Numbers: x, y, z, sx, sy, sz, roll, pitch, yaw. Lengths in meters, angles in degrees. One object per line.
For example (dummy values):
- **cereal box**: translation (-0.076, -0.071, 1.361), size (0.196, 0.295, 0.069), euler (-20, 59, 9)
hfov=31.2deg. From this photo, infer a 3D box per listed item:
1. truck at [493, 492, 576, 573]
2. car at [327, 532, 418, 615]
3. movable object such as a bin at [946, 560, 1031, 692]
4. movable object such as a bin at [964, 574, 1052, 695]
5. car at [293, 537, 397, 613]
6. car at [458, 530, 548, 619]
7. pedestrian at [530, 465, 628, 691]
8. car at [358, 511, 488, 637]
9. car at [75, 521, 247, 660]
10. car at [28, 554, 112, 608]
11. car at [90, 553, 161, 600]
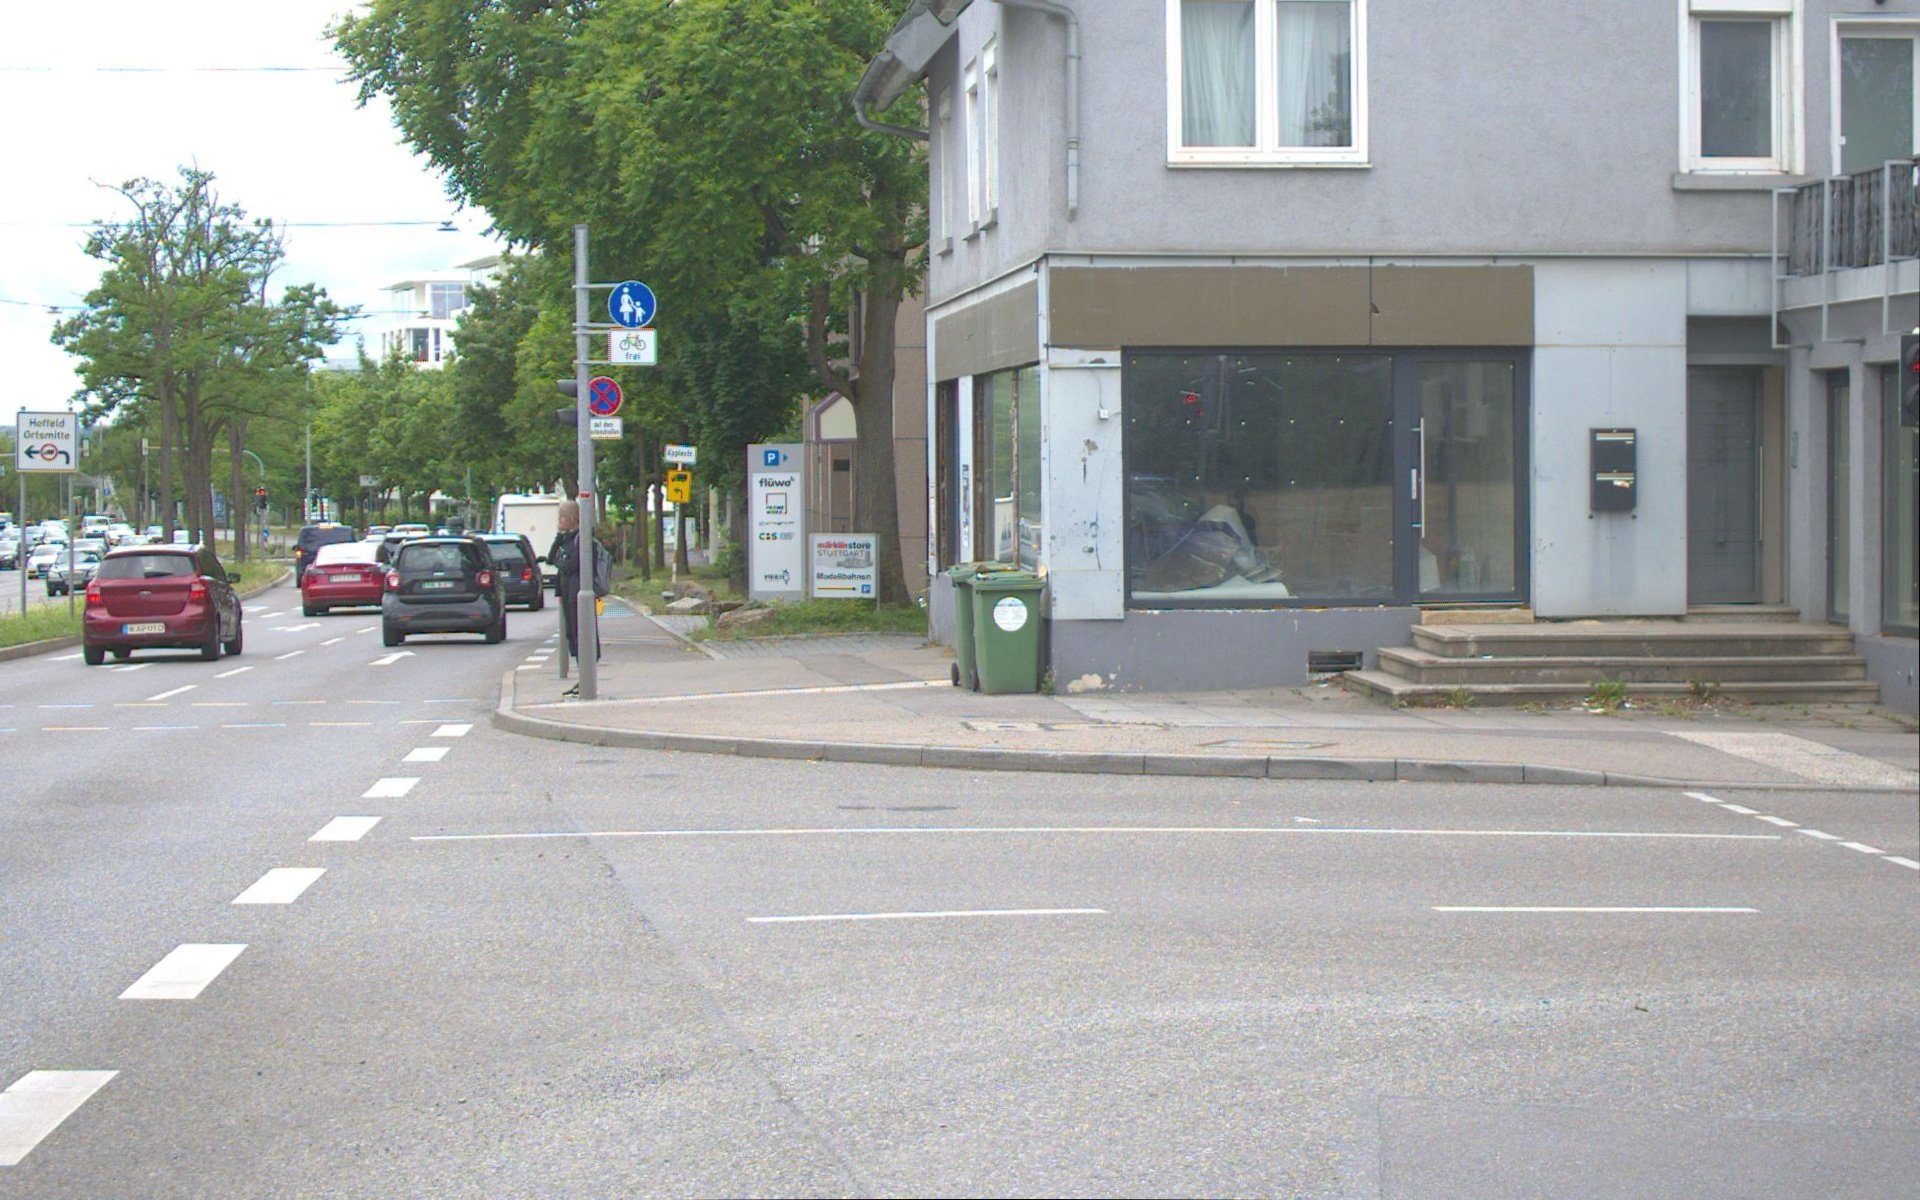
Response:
- **truck**: translation (-11.814, -1.863, 95.687), size (1.993, 2.158, 5.560), euler (1, 1, -5)
- **car**: translation (-14.893, -0.690, 86.997), size (1.993, 2.006, 4.002), euler (1, 2, -14)
- **movable object such as a bin**: translation (0.240, 0.215, 29.066), size (0.597, 1.097, 0.573), euler (-1, 1, -13)
- **movable object such as a bin**: translation (0.393, 0.282, 28.480), size (0.597, 0.984, 0.573), euler (-1, 1, -13)
- **car**: translation (-12.612, -0.509, 70.343), size (1.868, 1.481, 4.001), euler (0, 0, -13)
- **car**: translation (-9.243, -0.534, 69.677), size (1.746, 1.717, 4.001), euler (-1, 1, -7)
- **pedestrian**: translation (-3.441, -0.203, 31.085), size (0.771, 2.007, 0.877), euler (-1, 1, 0)
- **car**: translation (-7.674, -0.396, 49.337), size (1.746, 1.717, 4.001), euler (-1, 1, -8)
- **car**: translation (-10.367, -0.154, 44.826), size (1.746, 1.717, 4.001), euler (-1, 1, -7)
- **car**: translation (-26.659, -0.589, 103.106), size (1.993, 1.568, 4.001), euler (-1, 1, -8)
- **car**: translation (-28.813, -0.824, 118.734), size (1.993, 1.568, 4.001), euler (-1, 1, -8)
